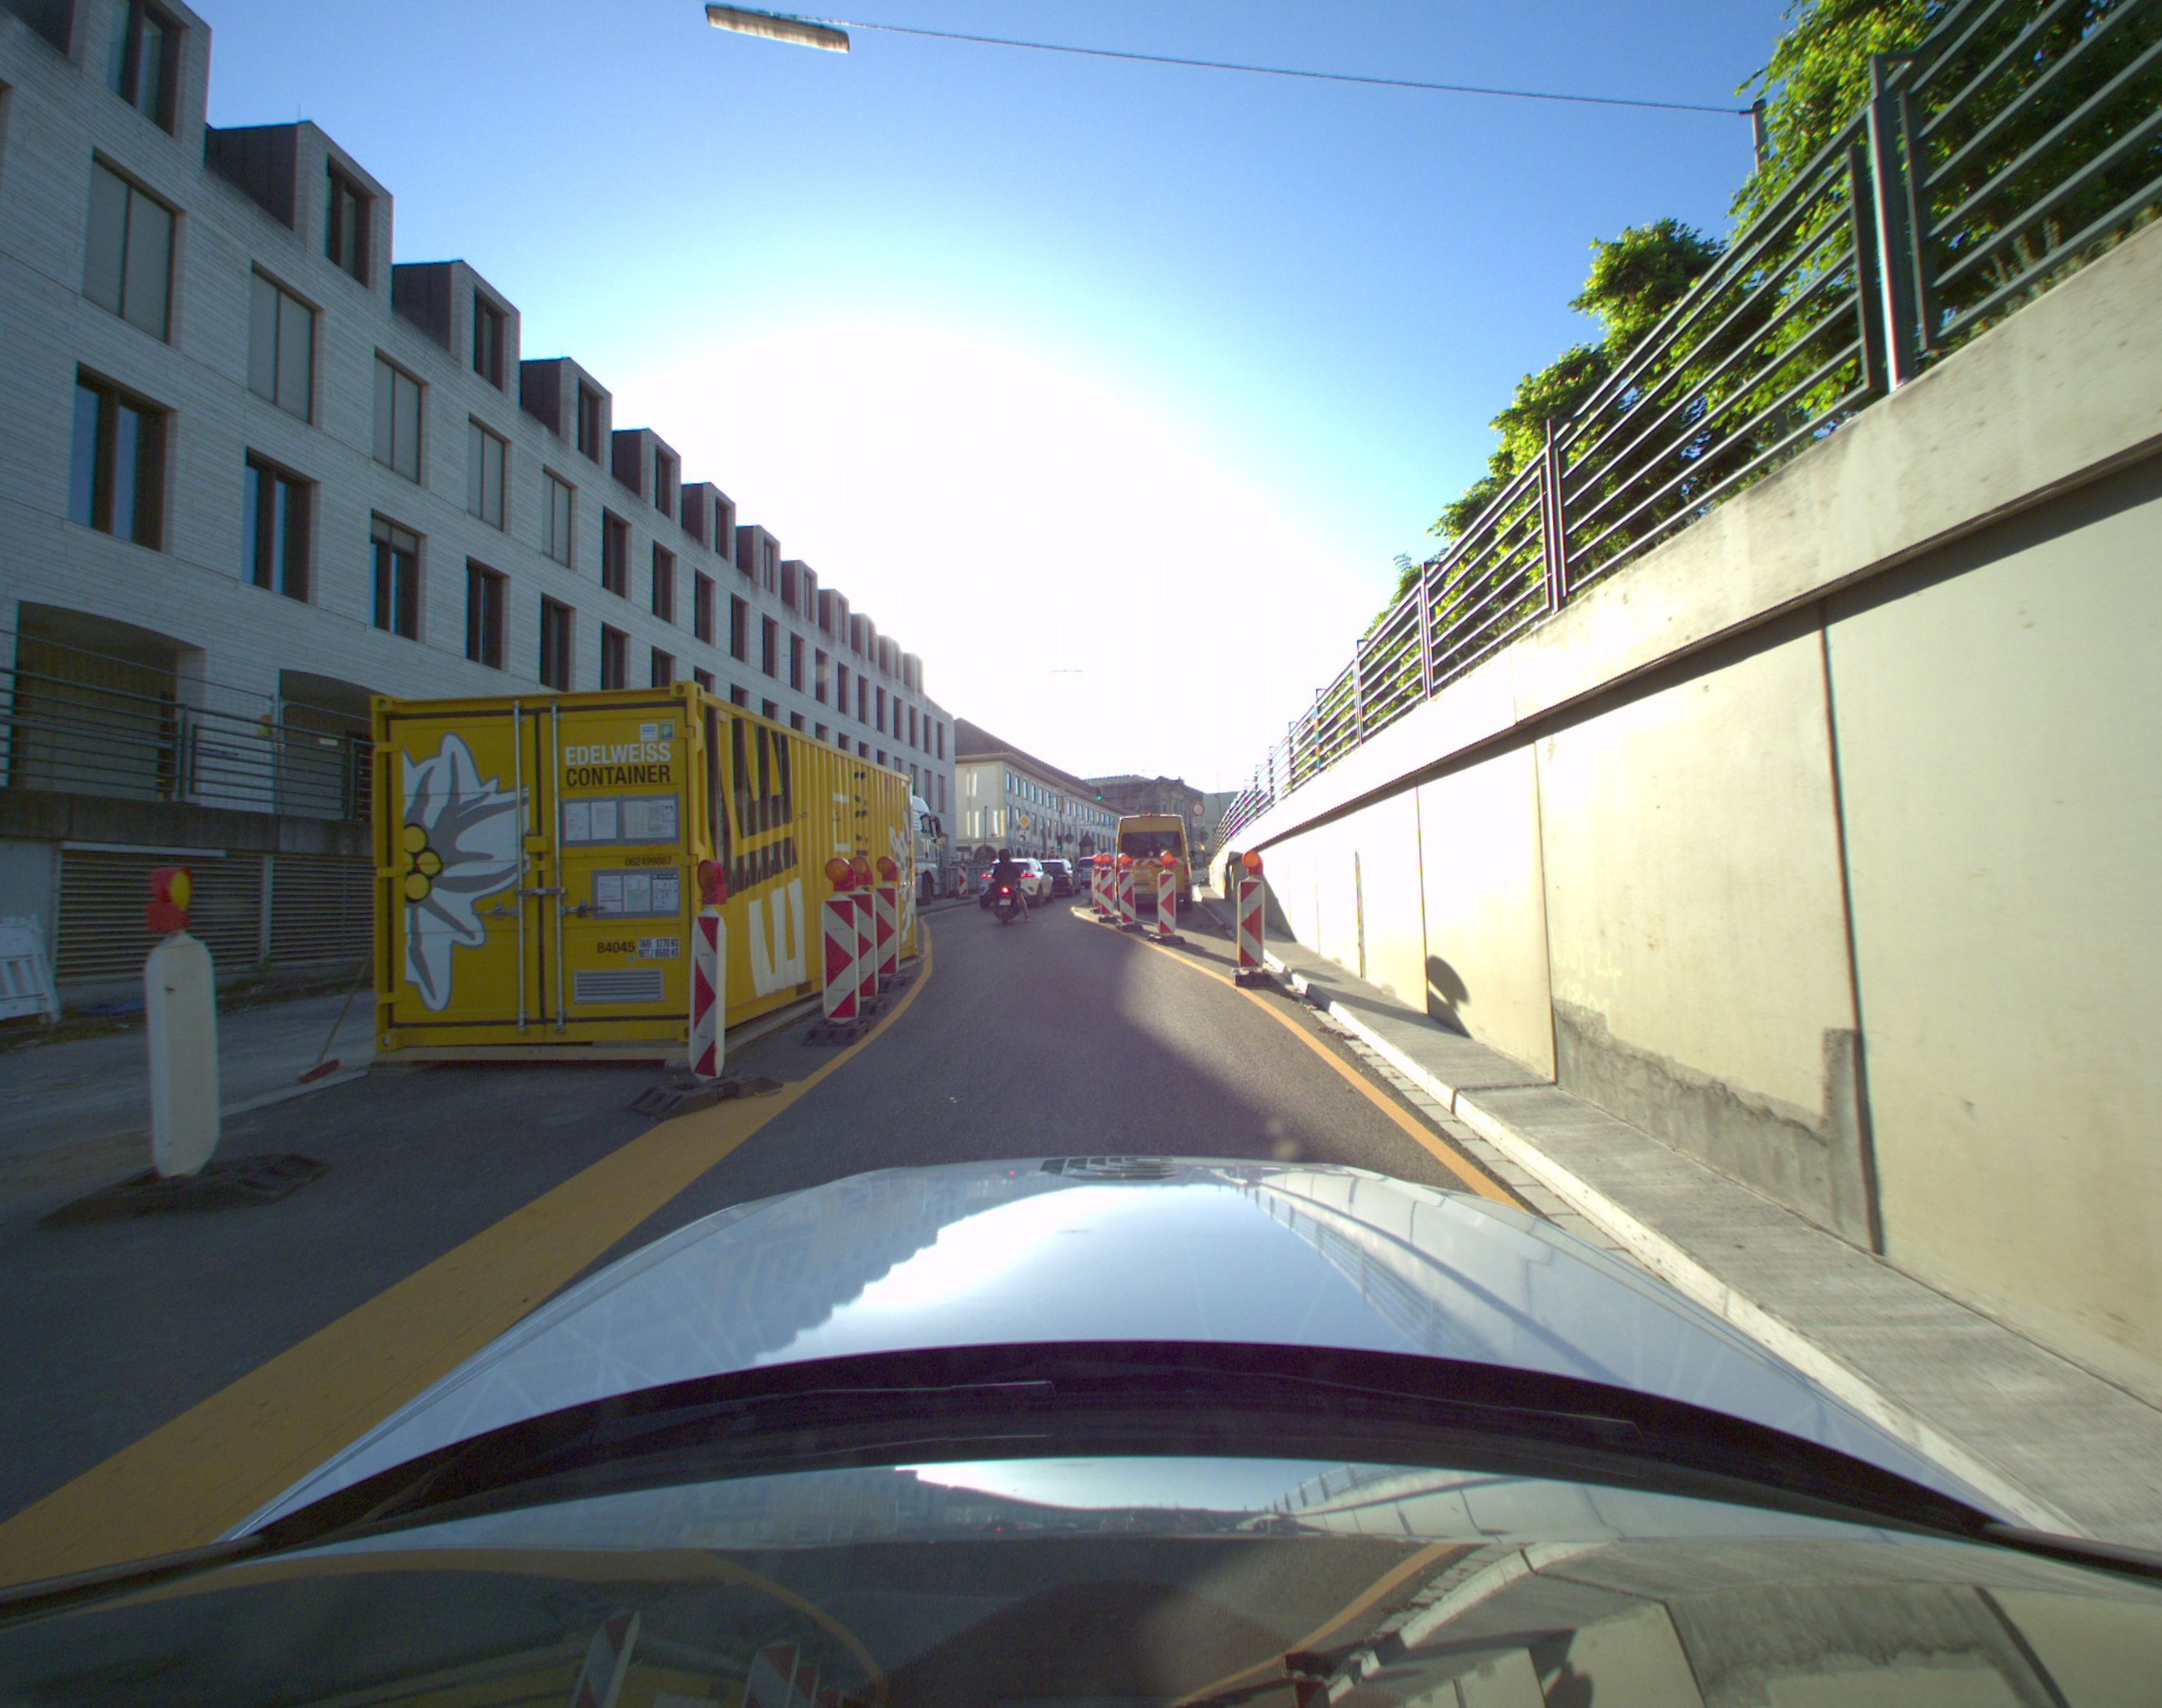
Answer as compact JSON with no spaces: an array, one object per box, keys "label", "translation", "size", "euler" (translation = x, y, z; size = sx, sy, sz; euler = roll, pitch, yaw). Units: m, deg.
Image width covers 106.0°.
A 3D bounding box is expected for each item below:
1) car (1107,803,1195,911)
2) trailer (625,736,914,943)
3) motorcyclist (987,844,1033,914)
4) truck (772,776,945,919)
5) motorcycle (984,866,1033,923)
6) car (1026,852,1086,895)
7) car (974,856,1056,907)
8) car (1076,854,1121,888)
[{"label":"car","translation":[2.134,0.118,23.777],"size":[2.101,2.625,6.999],"euler":[-2,-1,6]},{"label":"trailer","translation":[-6.827,-0.240,19.805],"size":[2.629,3.669,8.762],"euler":[-6,-1,5]},{"label":"motorcyclist","translation":[-1.639,0.565,18.999],"size":[0.951,1.559,1.238],"euler":[-1,0,-1]},{"label":"truck","translation":[-6.278,-0.150,23.979],"size":[2.566,3.489,5.827],"euler":[-5,-1,7]},{"label":"motorcycle","translation":[-1.660,0.906,19.022],"size":[0.903,1.183,2.578],"euler":[-1,0,0]},{"label":"car","translation":[-0.908,0.797,32.156],"size":[1.765,1.550,4.112],"euler":[-2,-2,6]},{"label":"car","translation":[-1.966,0.793,25.618],"size":[1.850,1.472,4.007],"euler":[0,0,6]},{"label":"car","translation":[0.997,0.897,44.739],"size":[1.792,1.721,4.175],"euler":[-2,0,10]}]
